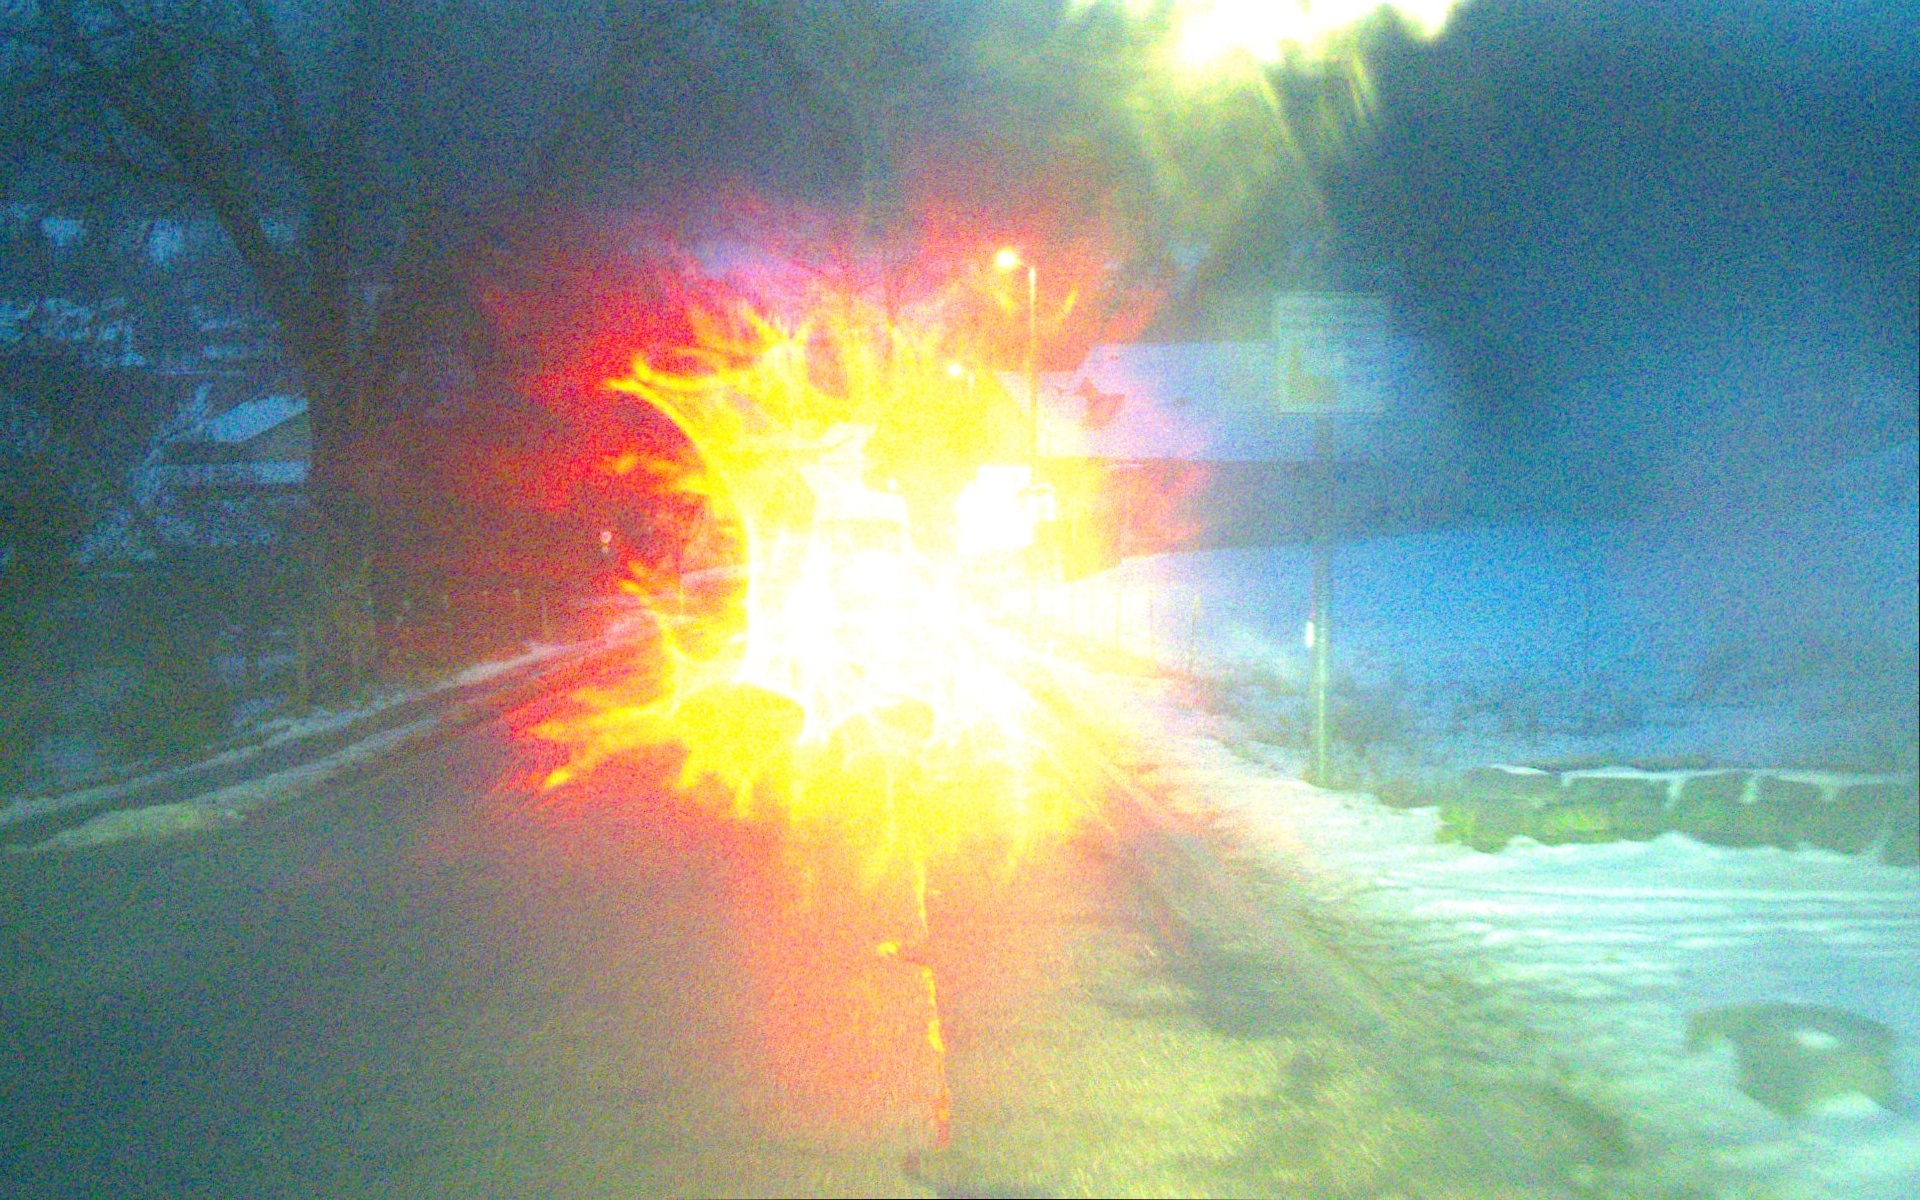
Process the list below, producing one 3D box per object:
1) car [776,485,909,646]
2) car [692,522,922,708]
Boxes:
[{"bbox_3d":[-2.275,-0.625,68.037,2.435,3.008,5.325,-1,-1,0],"label":"car"},{"bbox_3d":[-1.575,0.133,36.502,2.274,1.834,5.007,0,0,-1],"label":"car"}]
